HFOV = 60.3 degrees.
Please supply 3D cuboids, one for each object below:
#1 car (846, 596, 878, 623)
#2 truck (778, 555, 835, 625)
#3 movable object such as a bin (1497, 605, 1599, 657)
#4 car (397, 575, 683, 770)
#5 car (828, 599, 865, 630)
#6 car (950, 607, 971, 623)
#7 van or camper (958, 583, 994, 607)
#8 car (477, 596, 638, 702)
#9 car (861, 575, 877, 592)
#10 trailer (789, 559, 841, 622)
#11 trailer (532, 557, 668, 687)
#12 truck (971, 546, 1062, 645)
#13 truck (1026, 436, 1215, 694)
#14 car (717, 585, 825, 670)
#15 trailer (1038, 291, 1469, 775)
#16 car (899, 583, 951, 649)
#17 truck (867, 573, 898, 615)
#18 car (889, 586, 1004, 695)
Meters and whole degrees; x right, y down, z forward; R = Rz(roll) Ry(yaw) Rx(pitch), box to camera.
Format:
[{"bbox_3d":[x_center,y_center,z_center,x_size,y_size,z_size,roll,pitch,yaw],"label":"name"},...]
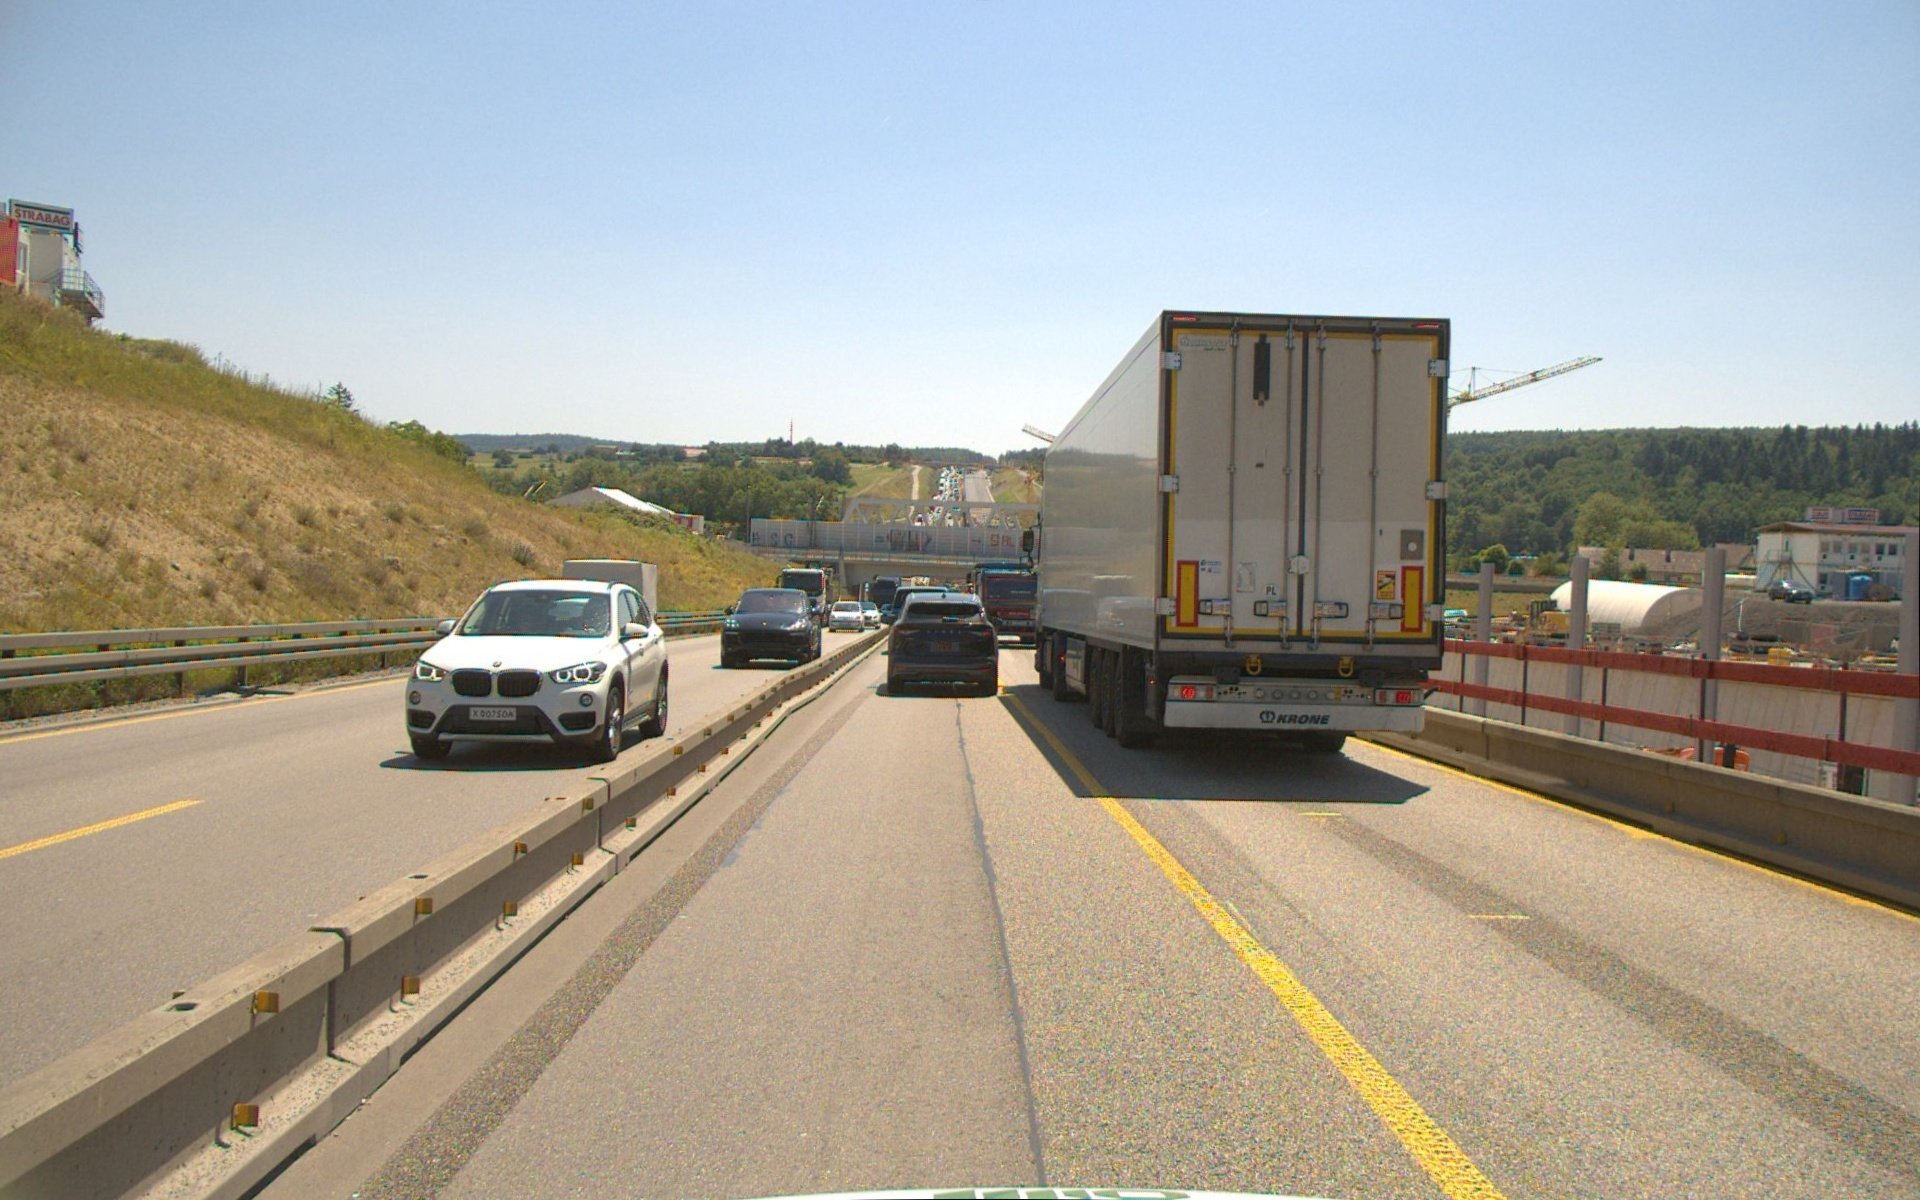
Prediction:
[{"bbox_3d":[-5.363,0.511,91.112,1.650,1.455,4.120,1,0,-2],"label":"car"},{"bbox_3d":[-8.751,-0.567,94.945,2.534,3.788,9.330,1,0,-1],"label":"truck"},{"bbox_3d":[35.944,1.830,101.467,2.829,2.960,9.478,1,0,0],"label":"movable object such as a bin"},{"bbox_3d":[-3.926,0.609,16.200,1.779,1.620,4.288,1,0,-2],"label":"car"},{"bbox_3d":[-5.451,0.688,79.534,1.650,1.455,3.291,1,0,-2],"label":"car"},{"bbox_3d":[0.046,1.180,131.093,1.508,1.227,3.309,1,0,-3],"label":"car"},{"bbox_3d":[2.360,-0.806,249.100,3.873,3.479,8.383,1,0,-11],"label":"van or camper"},{"bbox_3d":[-5.882,0.661,24.591,1.614,1.440,3.997,0,0,-3],"label":"car"},{"bbox_3d":[-10.184,-1.859,185.156,1.697,1.825,3.579,1,0,-2],"label":"car"},{"bbox_3d":[-8.906,-0.548,102.661,2.534,3.701,9.076,1,0,-1],"label":"trailer"},{"bbox_3d":[-6.086,0.343,28.354,1.614,2.061,4.267,0,0,-3],"label":"trailer"},{"bbox_3d":[1.886,-0.130,60.225,2.756,3.190,12.836,1,0,0],"label":"truck"},{"bbox_3d":[2.694,-0.552,29.105,2.720,4.129,4.903,1,0,-1],"label":"truck"},{"bbox_3d":[-4.065,0.560,36.273,1.852,1.738,4.561,0,0,0],"label":"car"},{"bbox_3d":[2.869,-0.551,21.292,2.745,4.129,14.113,1,0,-1],"label":"trailer"},{"bbox_3d":[-0.981,0.437,47.591,1.444,1.826,3.297,0,0,0],"label":"car"},{"bbox_3d":[-7.438,-0.585,159.341,2.711,3.952,4.963,1,0,-1],"label":"truck"},{"bbox_3d":[-0.241,0.621,27.347,1.764,1.648,3.297,1,1,-1],"label":"car"}]
